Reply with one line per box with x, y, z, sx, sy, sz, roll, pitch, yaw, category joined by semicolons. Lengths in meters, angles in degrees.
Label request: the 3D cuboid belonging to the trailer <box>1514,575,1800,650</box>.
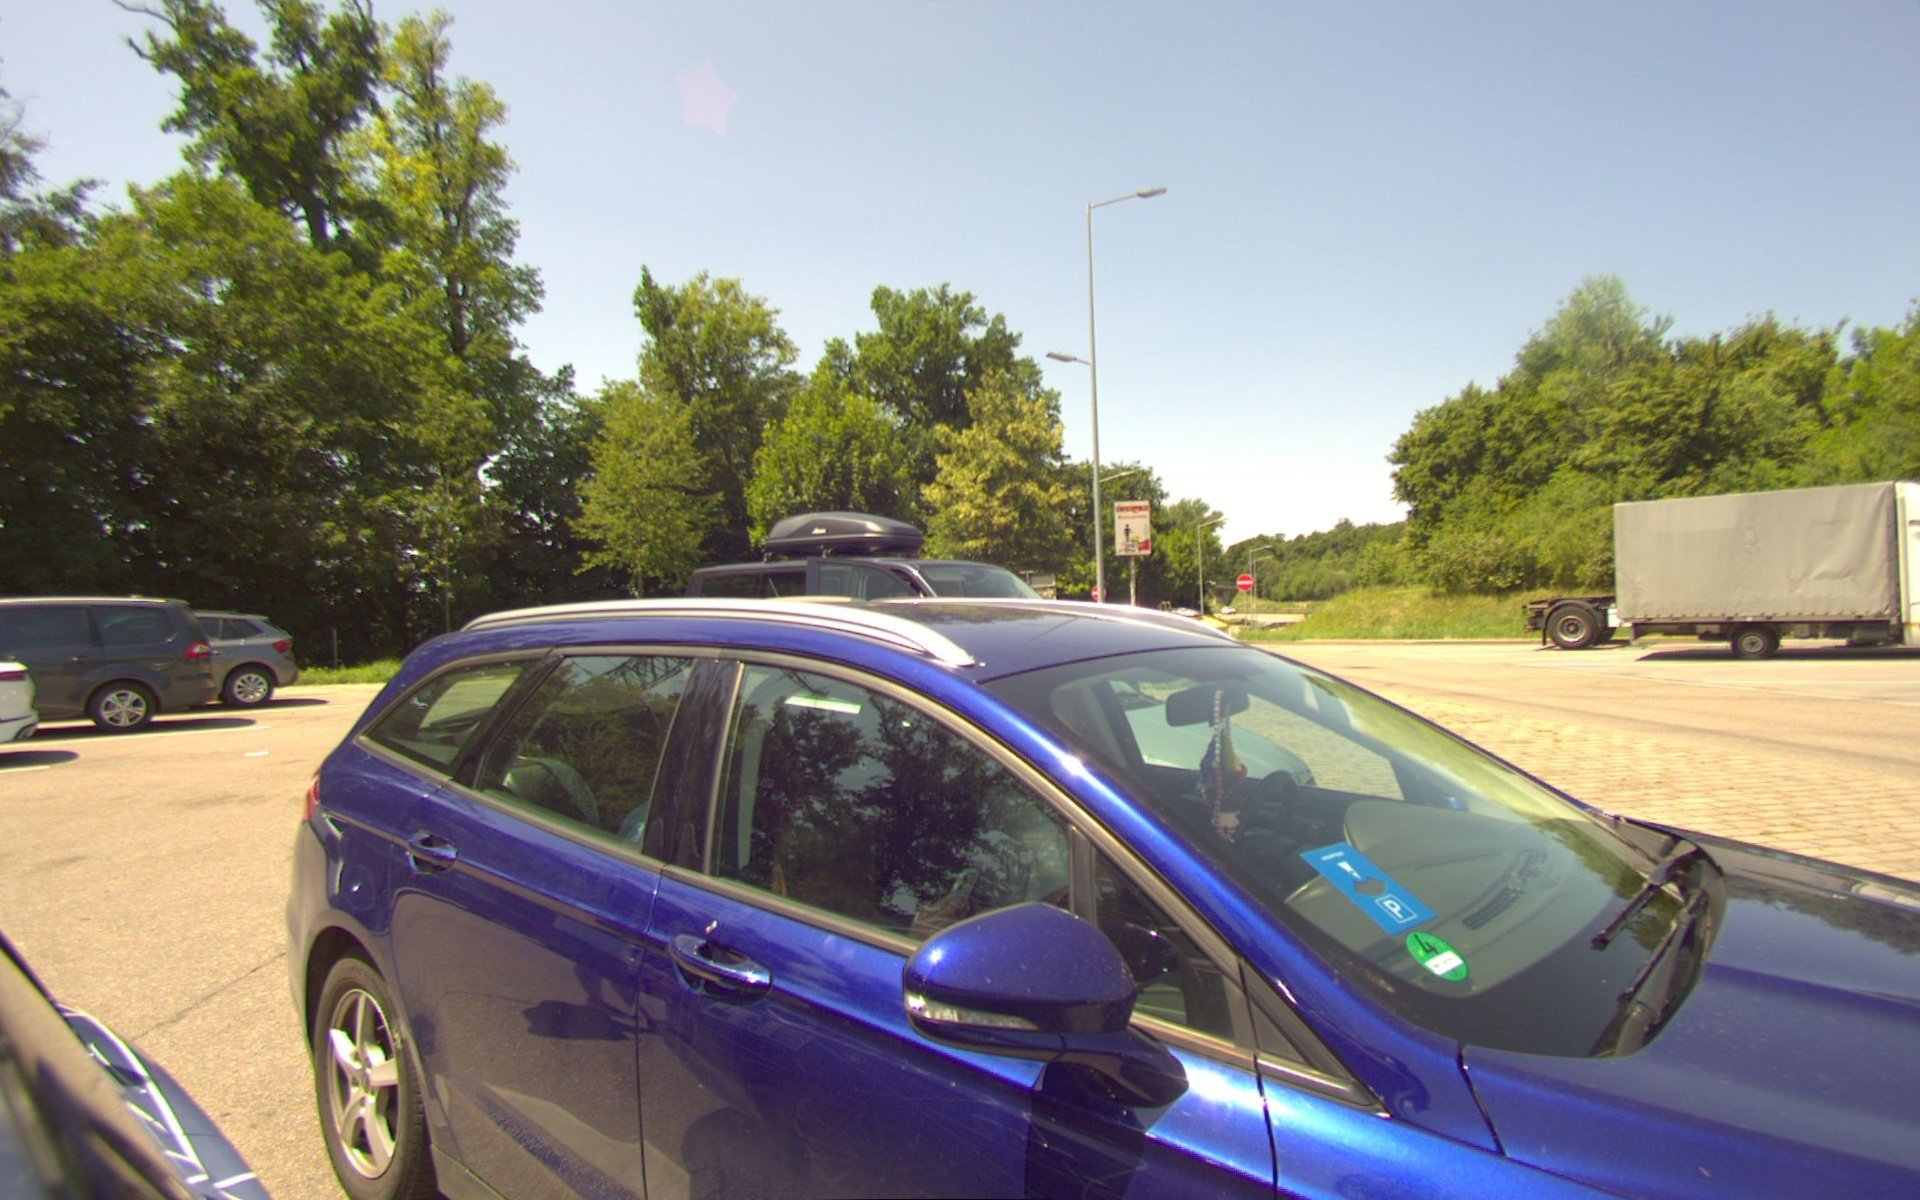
16.316;0.345;23.936;5.393;1.608;1.576;-2;-1;41;trailer

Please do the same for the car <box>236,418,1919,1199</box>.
0.222;0.650;2.105;4.427;1.455;1.763;-2;-1;40;car

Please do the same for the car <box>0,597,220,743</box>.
-11.730;0.835;12.609;3.830;1.703;1.883;0;-2;-45;car

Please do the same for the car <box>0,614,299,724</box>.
-12.612;0.971;15.635;3.753;1.488;1.743;0;-1;-45;car

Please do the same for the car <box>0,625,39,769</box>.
-10.976;0.942;9.220;3.753;1.377;1.804;0;-1;-45;car

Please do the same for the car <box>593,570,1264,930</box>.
-0.382;0.649;5.826;3.739;1.424;1.587;-2;-1;40;car

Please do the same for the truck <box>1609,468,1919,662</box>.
16.695;-0.619;18.863;7.308;3.258;2.294;-5;-2;43;truck

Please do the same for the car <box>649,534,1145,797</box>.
-0.749;0.532;9.437;4.427;1.875;2.022;-2;-1;40;car
